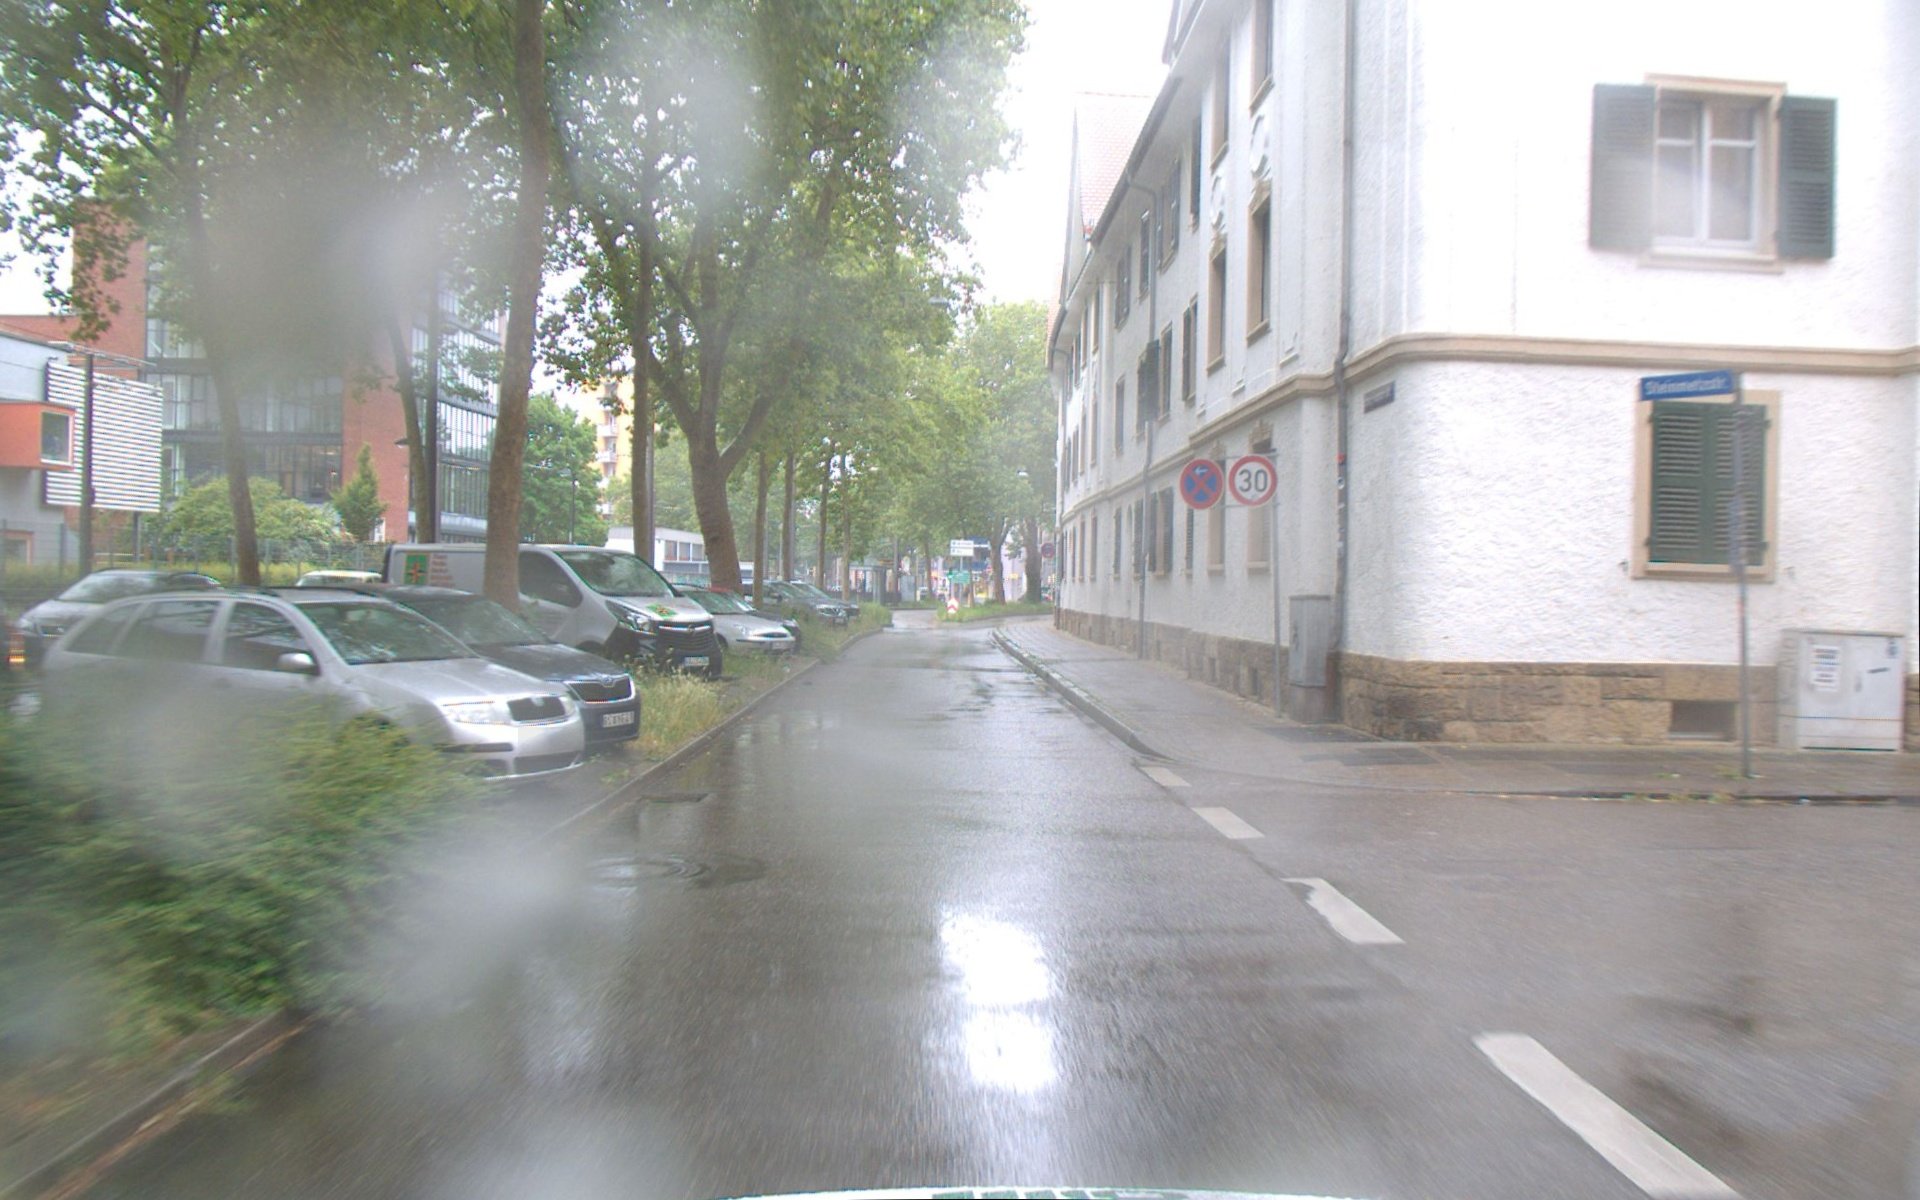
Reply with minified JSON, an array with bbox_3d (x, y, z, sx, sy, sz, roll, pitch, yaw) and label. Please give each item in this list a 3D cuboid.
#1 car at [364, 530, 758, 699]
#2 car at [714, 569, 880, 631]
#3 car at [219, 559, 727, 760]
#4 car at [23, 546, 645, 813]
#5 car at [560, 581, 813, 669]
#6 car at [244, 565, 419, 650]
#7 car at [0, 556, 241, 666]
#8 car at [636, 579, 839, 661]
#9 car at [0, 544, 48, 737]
[{"bbox_3d":[-5.314,0.154,21.881,5.019,2.012,2.099,0,0,30],"label":"car"},{"bbox_3d":[-4.686,-0.033,47.505,4.370,1.625,1.922,2,1,25],"label":"car"},{"bbox_3d":[-4.338,0.439,14.665,4.218,1.462,1.746,2,1,26],"label":"car"},{"bbox_3d":[-4.410,0.453,11.667,3.974,1.525,1.747,2,1,23],"label":"car"},{"bbox_3d":[-5.017,0.414,30.186,4.460,1.508,1.772,0,0,29],"label":"car"},{"bbox_3d":[-12.264,0.145,32.556,1.953,1.534,3.999,1,0,-1],"label":"car"},{"bbox_3d":[-12.285,0.093,24.098,1.954,1.445,4.270,1,1,-3],"label":"car"},{"bbox_3d":[-4.424,0.364,32.732,3.734,1.547,1.719,0,0,30],"label":"car"},{"bbox_3d":[-9.193,0.318,12.894,1.954,1.669,4.137,2,0,-3],"label":"car"}]
